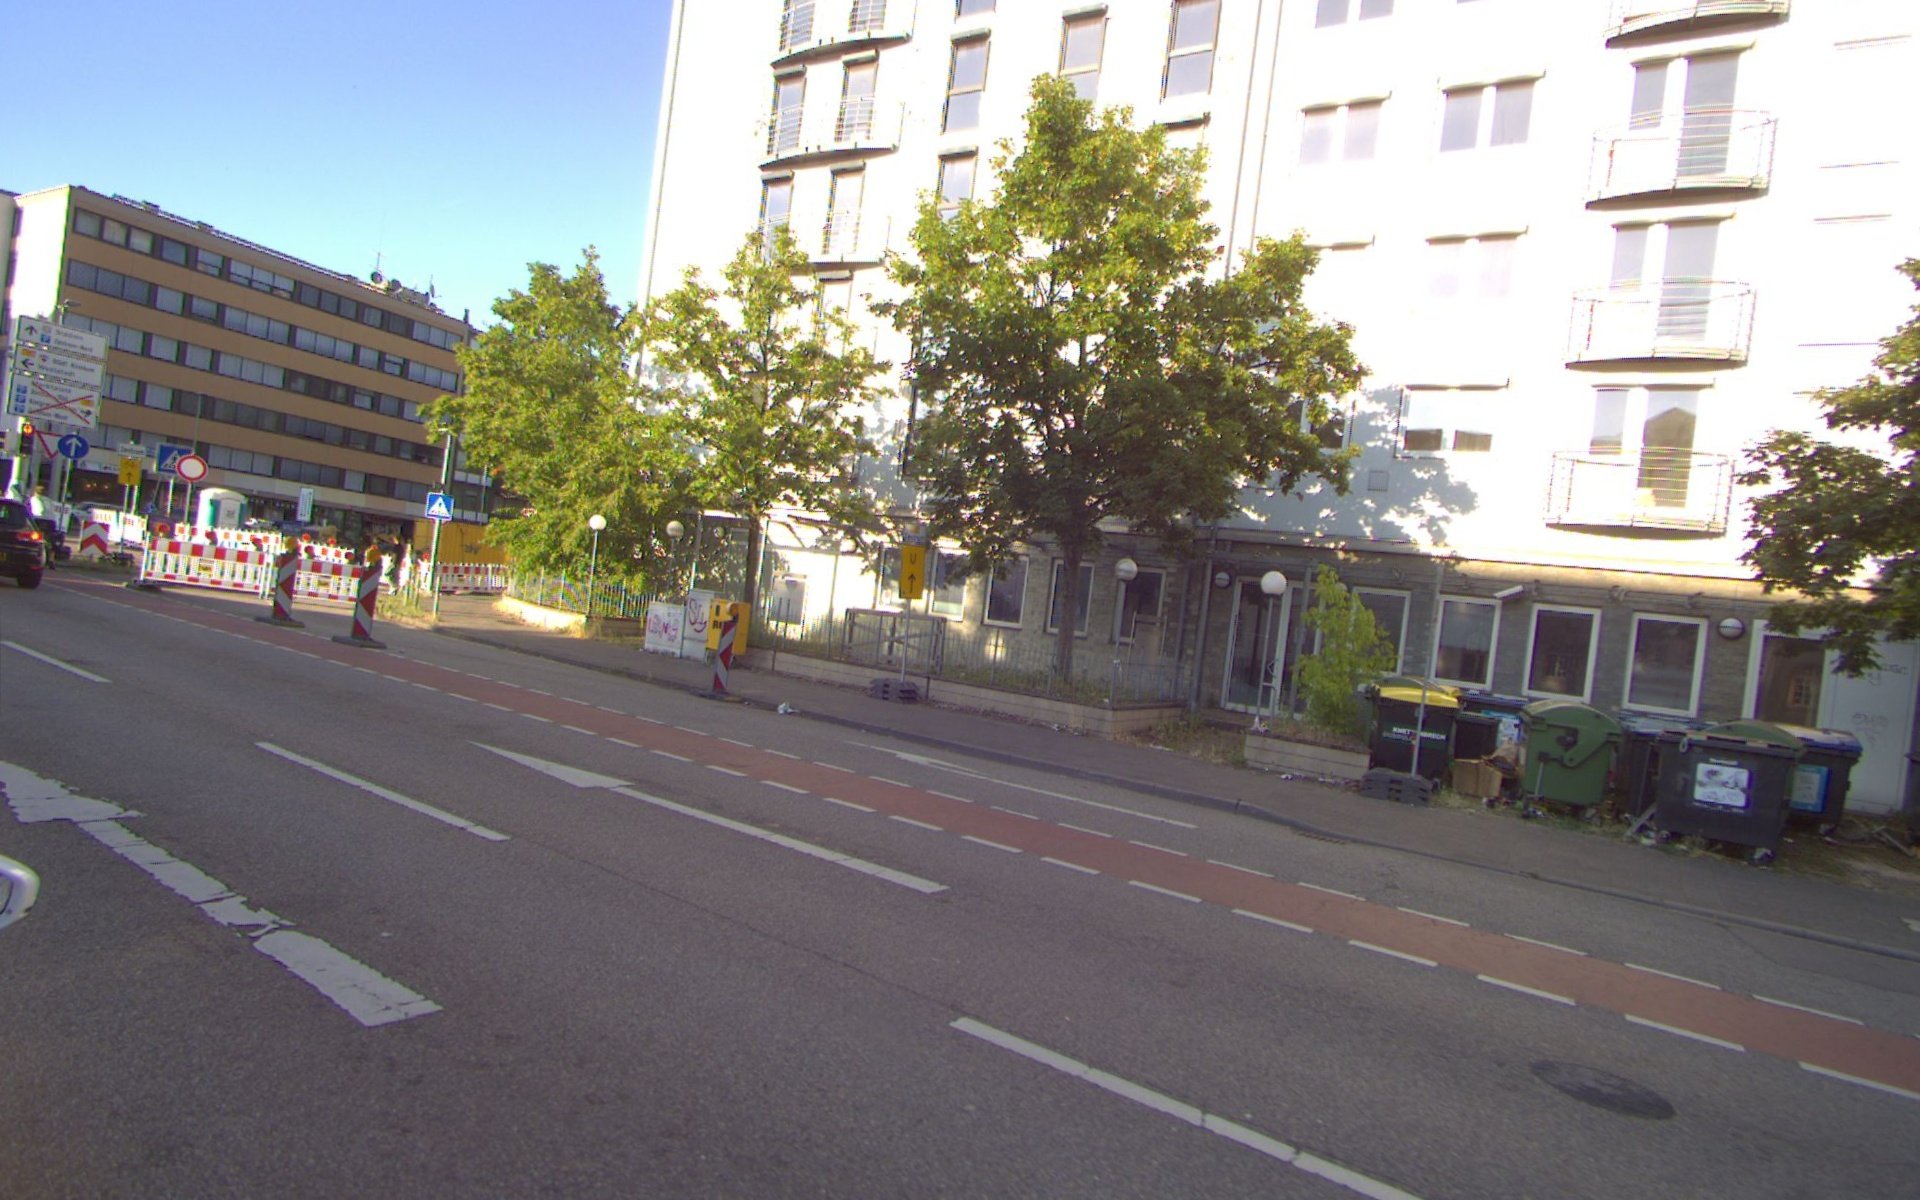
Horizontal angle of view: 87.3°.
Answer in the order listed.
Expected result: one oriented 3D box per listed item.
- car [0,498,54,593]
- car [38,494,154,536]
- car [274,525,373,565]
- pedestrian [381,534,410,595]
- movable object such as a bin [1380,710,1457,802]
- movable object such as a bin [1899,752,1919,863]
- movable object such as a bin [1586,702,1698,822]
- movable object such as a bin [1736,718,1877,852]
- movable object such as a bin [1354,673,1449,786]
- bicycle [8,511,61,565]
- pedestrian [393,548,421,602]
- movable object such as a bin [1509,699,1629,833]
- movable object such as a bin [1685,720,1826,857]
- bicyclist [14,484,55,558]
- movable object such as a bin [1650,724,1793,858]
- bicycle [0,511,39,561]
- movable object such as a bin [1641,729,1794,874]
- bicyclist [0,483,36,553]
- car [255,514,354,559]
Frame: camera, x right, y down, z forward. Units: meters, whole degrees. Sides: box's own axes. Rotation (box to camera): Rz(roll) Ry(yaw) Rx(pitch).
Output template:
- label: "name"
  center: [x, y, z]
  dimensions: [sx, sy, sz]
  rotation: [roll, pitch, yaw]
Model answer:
- label: "car"
  center: [-17.138, -1.110, 17.040]
  dimensions: [3.684, 1.466, 1.637]
  rotation: [7, -2, 33]
- label: "car"
  center: [-43.589, -4.277, 50.847]
  dimensions: [1.756, 1.437, 3.997]
  rotation: [7, -1, 26]
- label: "car"
  center: [-35.399, -3.039, 56.078]
  dimensions: [1.755, 1.568, 4.353]
  rotation: [7, -1, 21]
- label: "pedestrian"
  center: [-17.764, -1.116, 31.655]
  dimensions: [0.480, 1.857, 0.570]
  rotation: [7, 0, -13]
- label: "movable object such as a bin"
  center: [6.223, 2.084, 13.644]
  dimensions: [0.805, 1.058, 0.852]
  rotation: [7, 0, 28]
- label: "movable object such as a bin"
  center: [12.606, 2.679, 12.478]
  dimensions: [1.079, 1.344, 0.955]
  rotation: [7, 0, 30]
- label: "movable object such as a bin"
  center: [10.094, 2.370, 14.955]
  dimensions: [1.142, 1.517, 1.033]
  rotation: [7, 0, 30]
- label: "movable object such as a bin"
  center: [11.447, 2.466, 13.671]
  dimensions: [1.142, 1.517, 1.033]
  rotation: [7, 0, 30]
- label: "movable object such as a bin"
  center: [6.712, 1.927, 15.265]
  dimensions: [1.087, 1.479, 1.350]
  rotation: [7, 0, 28]
- label: "bicycle"
  center: [-20.252, -1.367, 22.007]
  dimensions: [1.825, 1.020, 0.337]
  rotation: [7, 0, 33]
- label: "pedestrian"
  center: [-17.884, -0.797, 32.532]
  dimensions: [0.447, 1.691, 0.602]
  rotation: [7, 0, -11]
- label: "movable object such as a bin"
  center: [7.820, 2.085, 13.000]
  dimensions: [1.087, 1.441, 1.350]
  rotation: [7, 0, 28]
- label: "movable object such as a bin"
  center: [10.240, 2.393, 13.018]
  dimensions: [1.142, 1.466, 1.033]
  rotation: [7, 0, 30]
- label: "bicyclist"
  center: [-20.267, -1.729, 22.026]
  dimensions: [0.474, 1.544, 0.441]
  rotation: [7, 0, 32]
- label: "movable object such as a bin"
  center: [9.289, 2.292, 12.341]
  dimensions: [1.142, 1.344, 0.955]
  rotation: [7, 0, 30]
- label: "bicycle"
  center: [-21.921, -1.506, 23.296]
  dimensions: [1.825, 1.020, 0.337]
  rotation: [7, 0, 33]
- label: "movable object such as a bin"
  center: [8.599, 2.250, 11.492]
  dimensions: [1.142, 1.344, 0.955]
  rotation: [7, 0, 30]
- label: "bicyclist"
  center: [-21.936, -1.900, 23.343]
  dimensions: [0.713, 1.544, 0.441]
  rotation: [7, 0, 33]
- label: "car"
  center: [-37.536, -3.615, 57.675]
  dimensions: [1.967, 1.839, 4.220]
  rotation: [7, -1, 33]
